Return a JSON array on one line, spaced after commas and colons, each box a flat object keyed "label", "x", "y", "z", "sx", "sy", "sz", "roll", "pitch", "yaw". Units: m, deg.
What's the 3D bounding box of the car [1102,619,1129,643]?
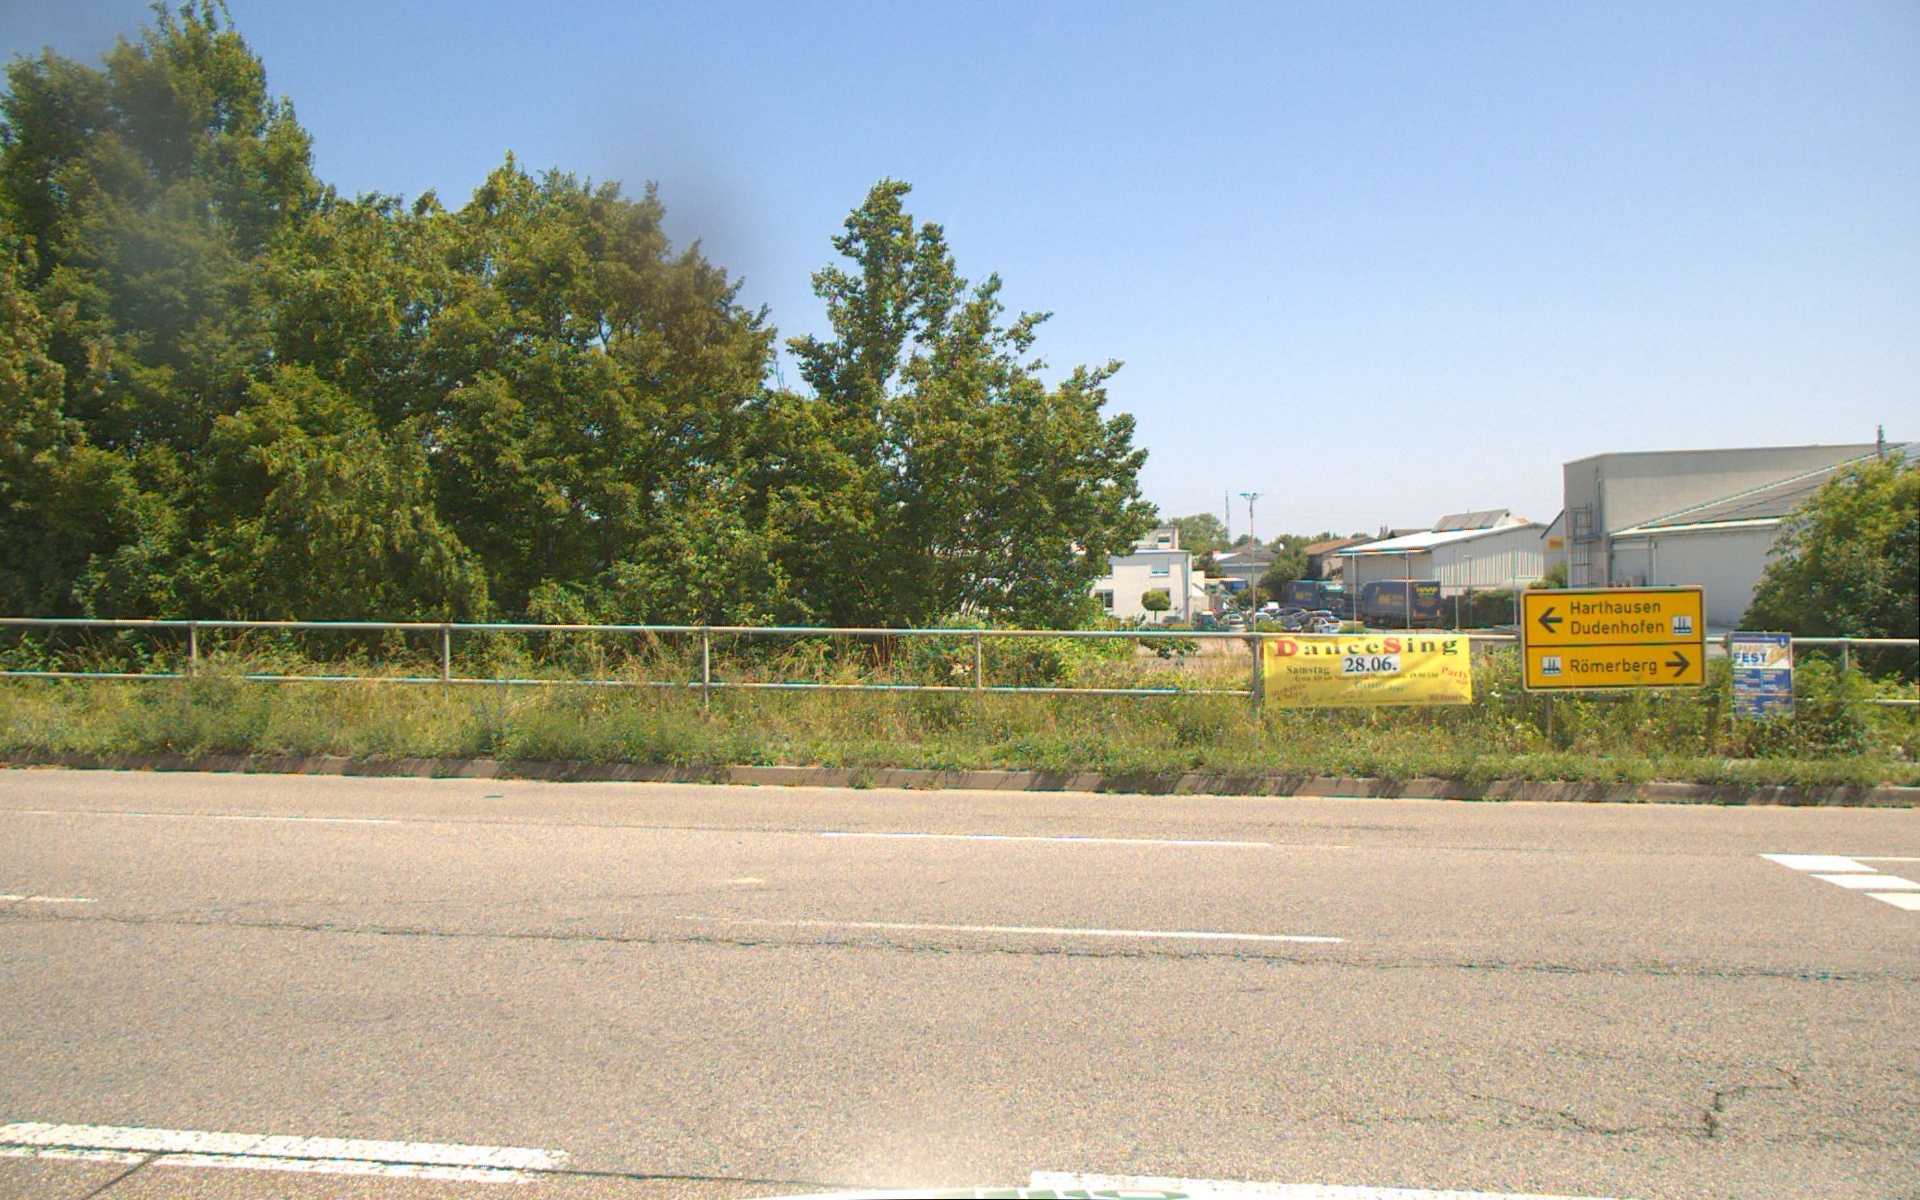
[{"label": "car", "x": 14.047, "y": 2.753, "z": 149.765, "sx": 1.953, "sy": 2.049, "sz": 4.863, "roll": 0, "pitch": 0, "yaw": -1}]

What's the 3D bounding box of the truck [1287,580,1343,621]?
[{"label": "truck", "x": 39.457, "y": 0.033, "z": 184.395, "sx": 3.341, "sy": 4.386, "sz": 14.594, "roll": 0, "pitch": 0, "yaw": 1}]

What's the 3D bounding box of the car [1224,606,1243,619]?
[{"label": "car", "x": 29.212, "y": 1.371, "z": 176.648, "sx": 1.421, "sy": 1.374, "sz": 3.315, "roll": 0, "pitch": 0, "yaw": -1}]

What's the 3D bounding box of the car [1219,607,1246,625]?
[{"label": "car", "x": 27.802, "y": 1.596, "z": 168.826, "sx": 1.953, "sy": 1.761, "sz": 4.863, "roll": 0, "pitch": 0, "yaw": 0}]

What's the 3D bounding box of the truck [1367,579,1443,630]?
[{"label": "truck", "x": 40.125, "y": 0.346, "z": 149.726, "sx": 3.631, "sy": 4.386, "sz": 13.345, "roll": 0, "pitch": 0, "yaw": 2}]

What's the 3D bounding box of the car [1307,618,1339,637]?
[{"label": "car", "x": 29.459, "y": 2.238, "z": 134.320, "sx": 1.649, "sy": 1.387, "sz": 3.836, "roll": -3, "pitch": 0, "yaw": 0}]

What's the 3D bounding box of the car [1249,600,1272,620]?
[{"label": "car", "x": 31.677, "y": 1.084, "z": 174.337, "sx": 1.681, "sy": 2.049, "sz": 4.000, "roll": 0, "pitch": 0, "yaw": 0}]
